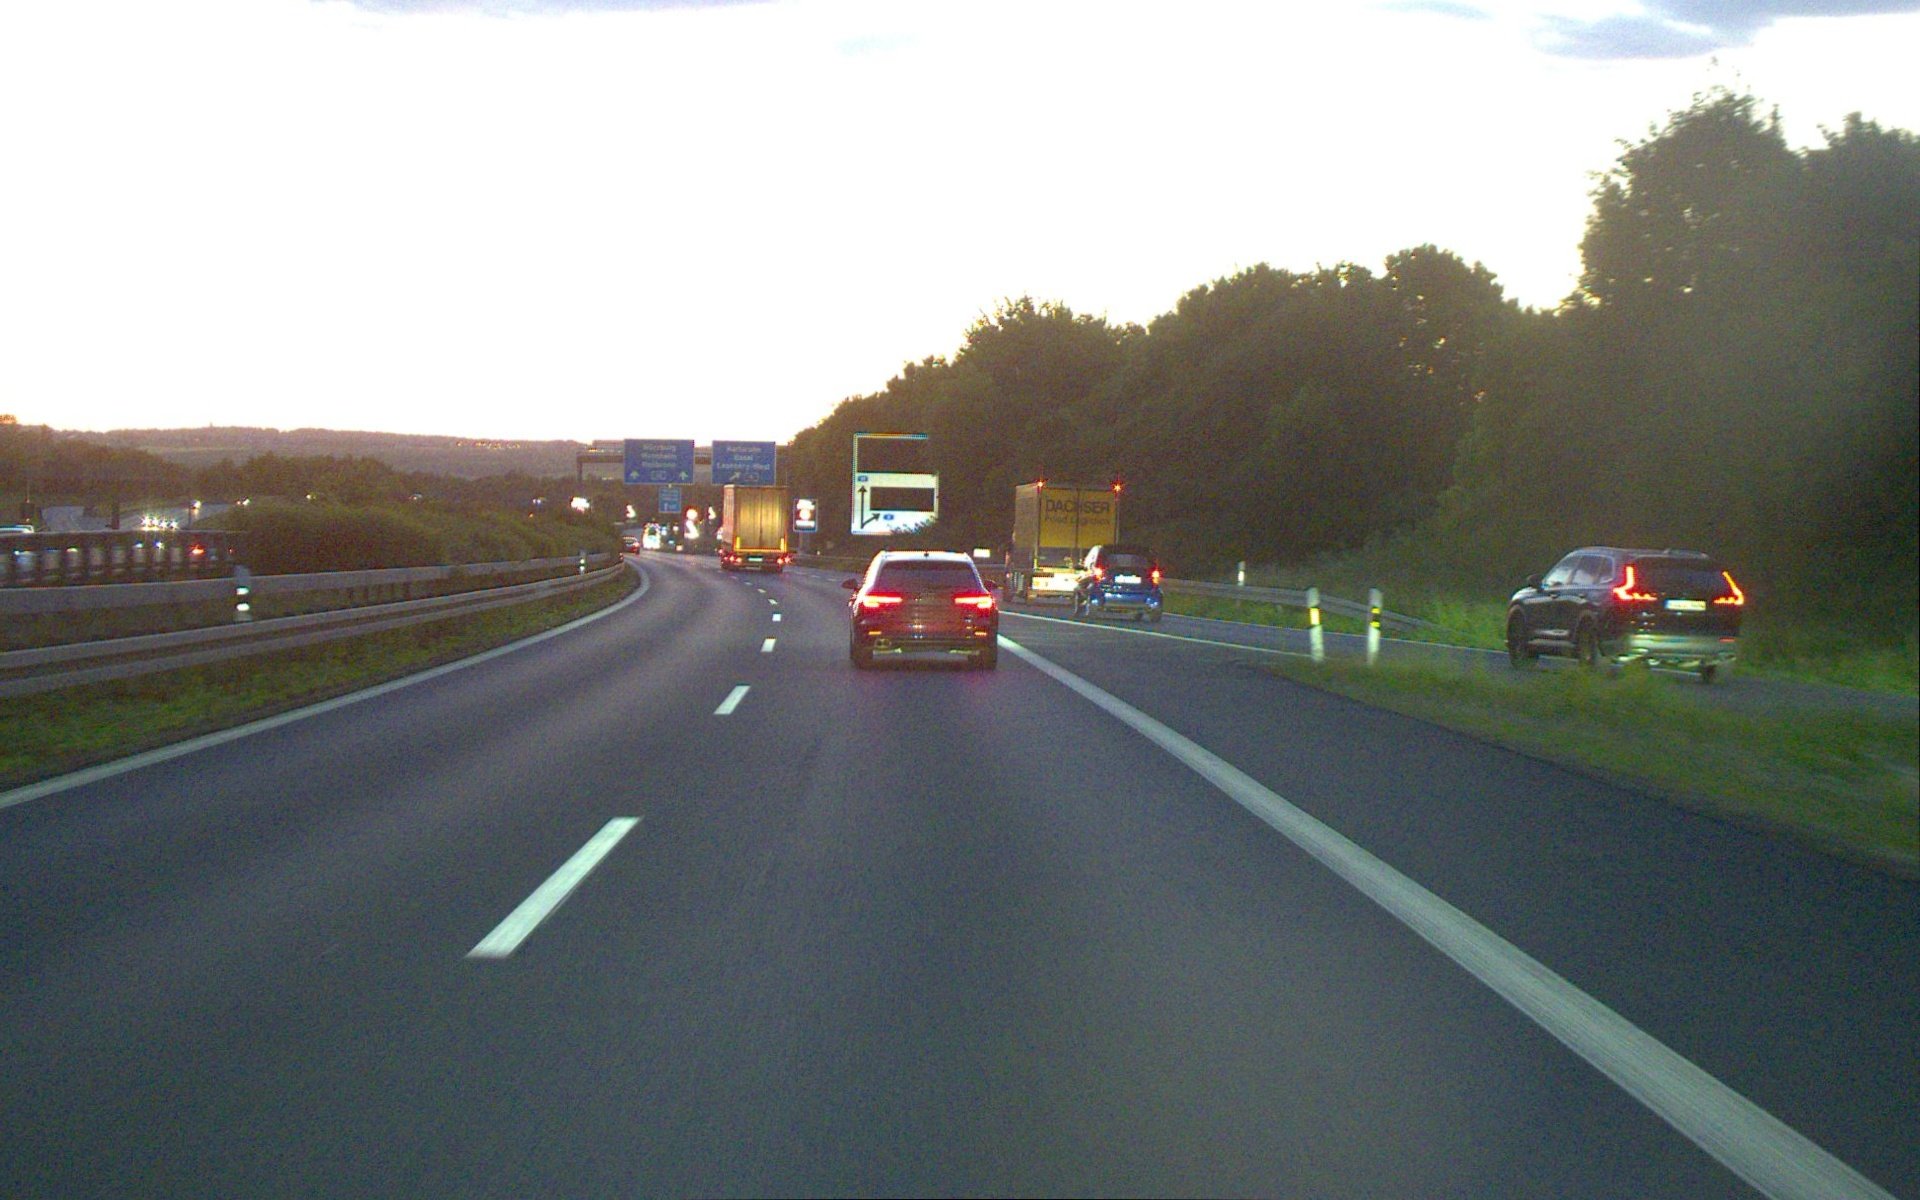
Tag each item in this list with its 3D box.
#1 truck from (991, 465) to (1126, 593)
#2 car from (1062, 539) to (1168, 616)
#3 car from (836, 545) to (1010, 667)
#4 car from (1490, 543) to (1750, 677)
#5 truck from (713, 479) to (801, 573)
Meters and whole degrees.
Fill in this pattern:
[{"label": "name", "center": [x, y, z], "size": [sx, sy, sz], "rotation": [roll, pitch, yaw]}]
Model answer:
[{"label": "truck", "center": [2.406, -1.771, 86.081], "size": [2.268, 2.961, 6.633], "rotation": [3, 1, -7]}, {"label": "car", "center": [3.182, -0.475, 71.106], "size": [1.610, 1.550, 3.319], "rotation": [1, 1, -8]}, {"label": "car", "center": [-0.515, 0.049, 43.303], "size": [1.915, 1.437, 4.001], "rotation": [1, 1, -4]}, {"label": "car", "center": [8.501, 0.080, 44.756], "size": [1.797, 1.639, 5.161], "rotation": [0, 1, -7]}, {"label": "truck", "center": [-9.711, -3.453, 163.303], "size": [3.509, 4.286, 9.893], "rotation": [1, 1, -7]}]
